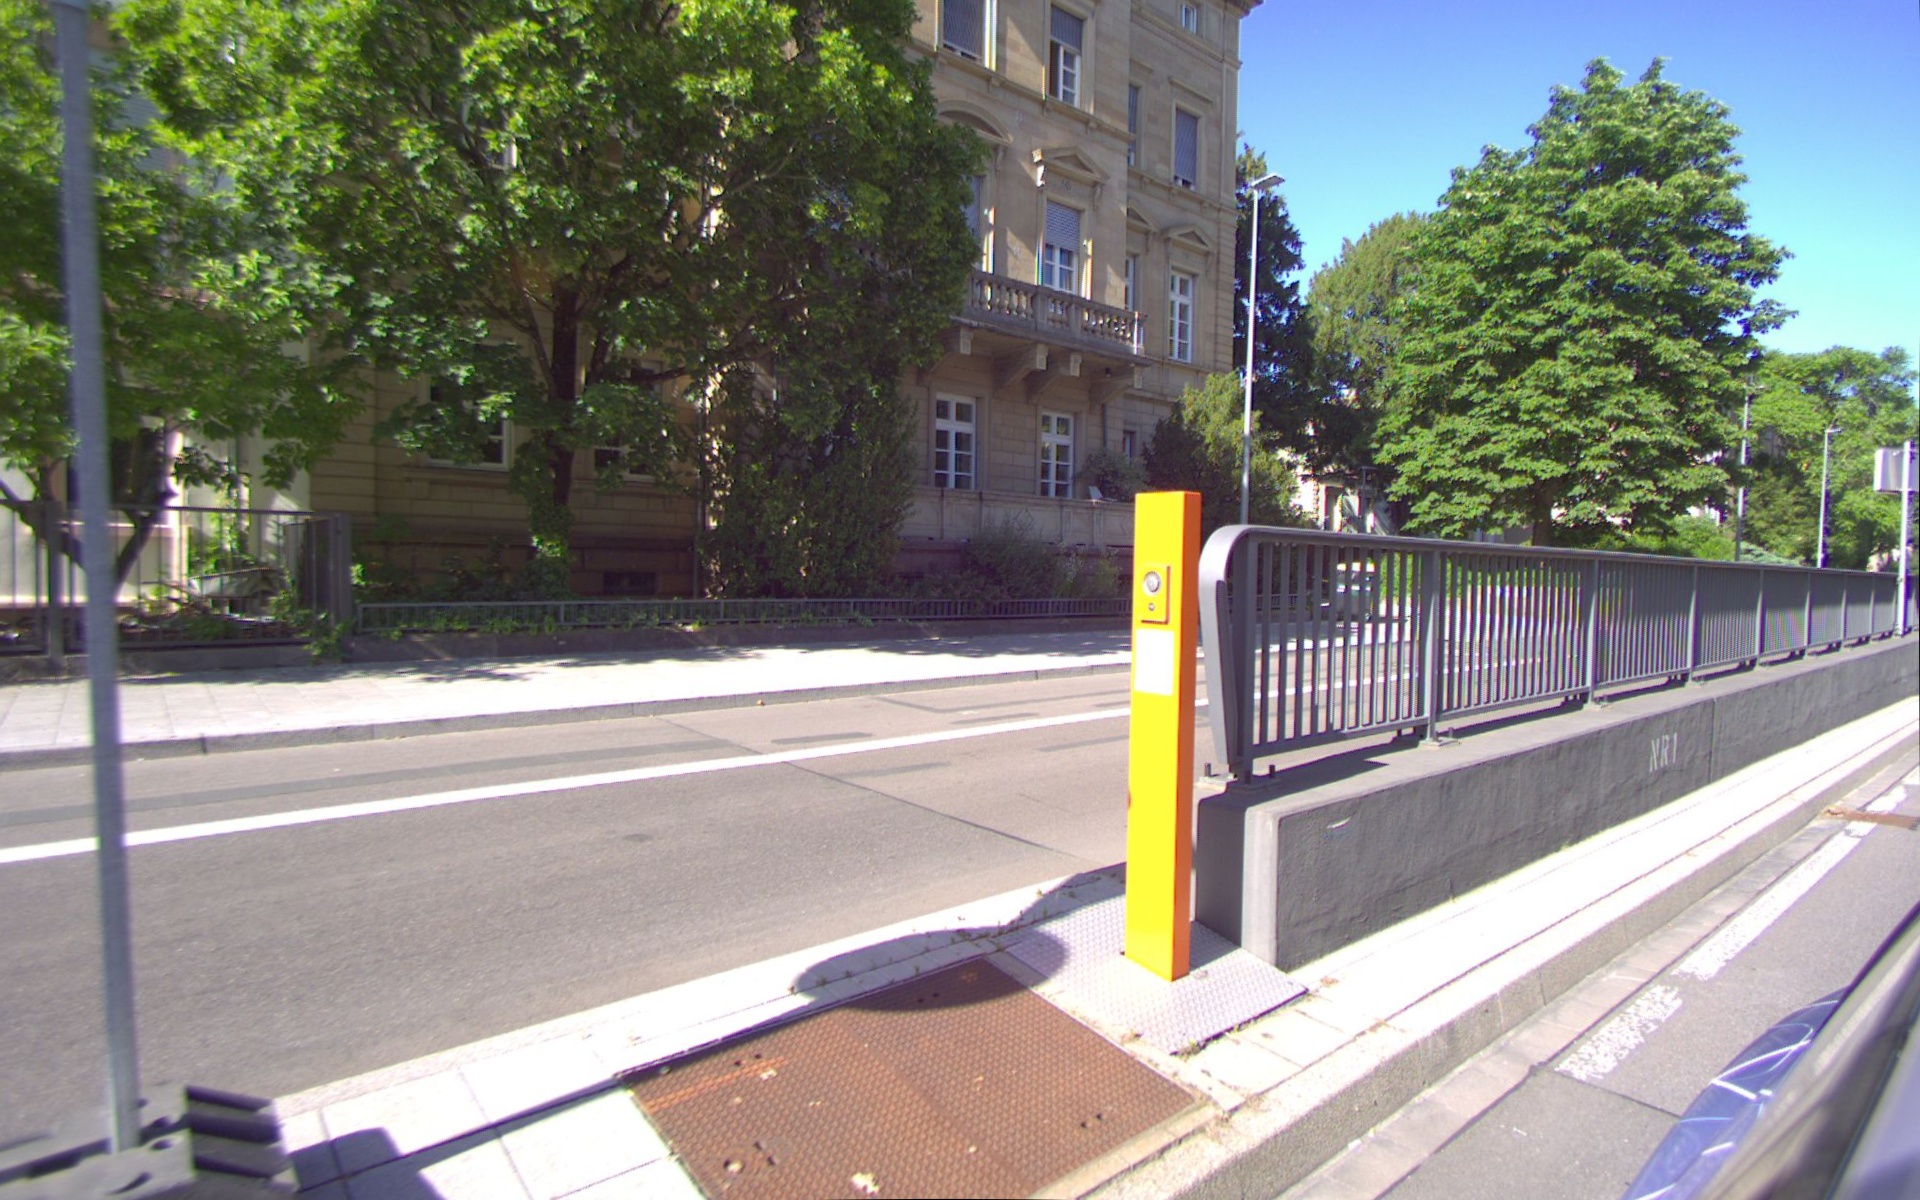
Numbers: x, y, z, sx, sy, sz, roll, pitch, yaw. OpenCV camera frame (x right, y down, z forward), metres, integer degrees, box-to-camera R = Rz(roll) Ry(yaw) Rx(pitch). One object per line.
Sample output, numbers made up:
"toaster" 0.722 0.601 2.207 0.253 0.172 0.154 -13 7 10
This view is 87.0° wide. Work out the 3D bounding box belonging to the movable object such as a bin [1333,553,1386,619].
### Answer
"movable object such as a bin" 9.211 -0.326 23.315 0.965 1.415 1.276 4 2 27
